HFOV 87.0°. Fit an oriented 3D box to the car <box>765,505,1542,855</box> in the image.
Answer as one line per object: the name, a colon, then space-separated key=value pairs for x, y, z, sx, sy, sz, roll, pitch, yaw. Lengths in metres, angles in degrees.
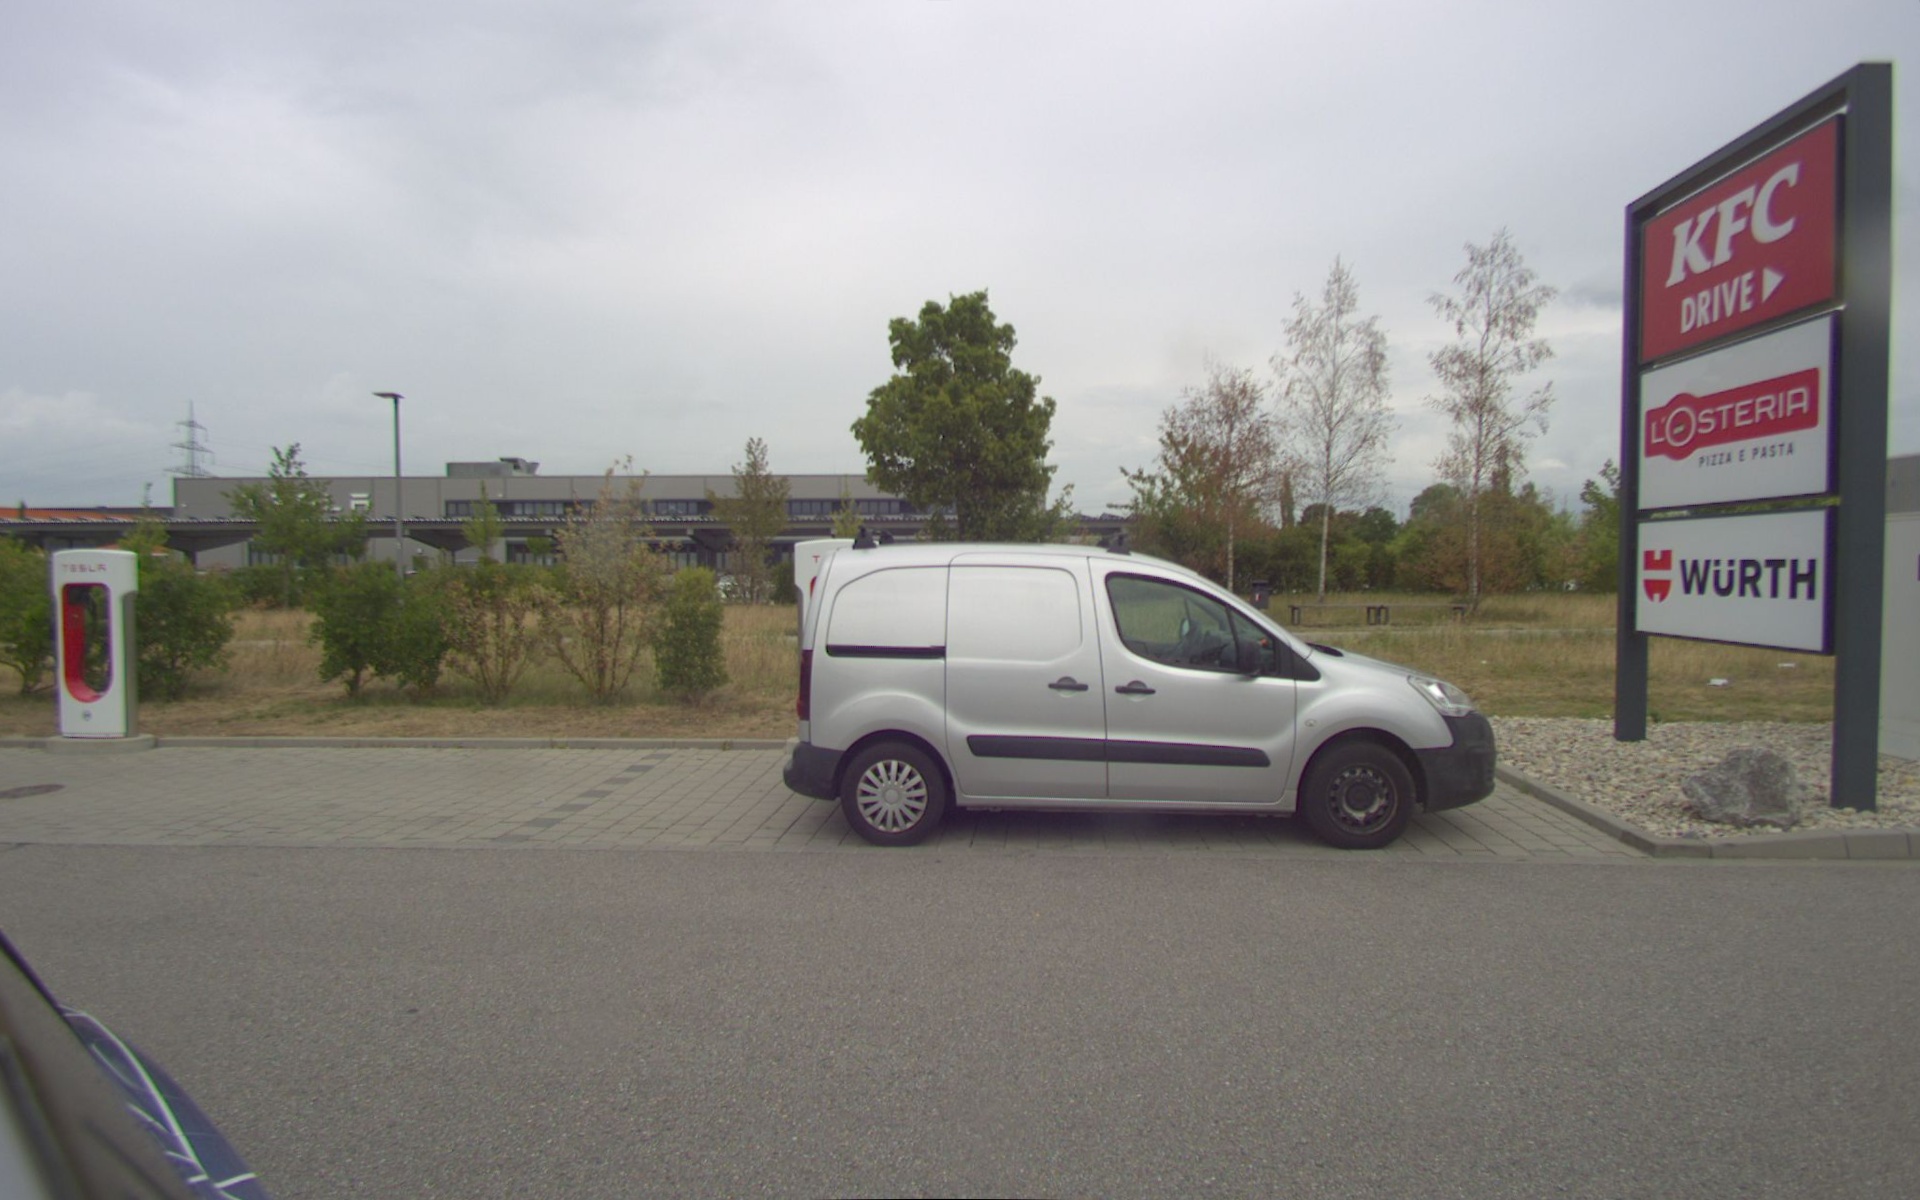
car: x=1.073 y=0.434 z=6.618 sx=4.281 sy=1.902 sz=1.944 roll=0 pitch=0 yaw=4
